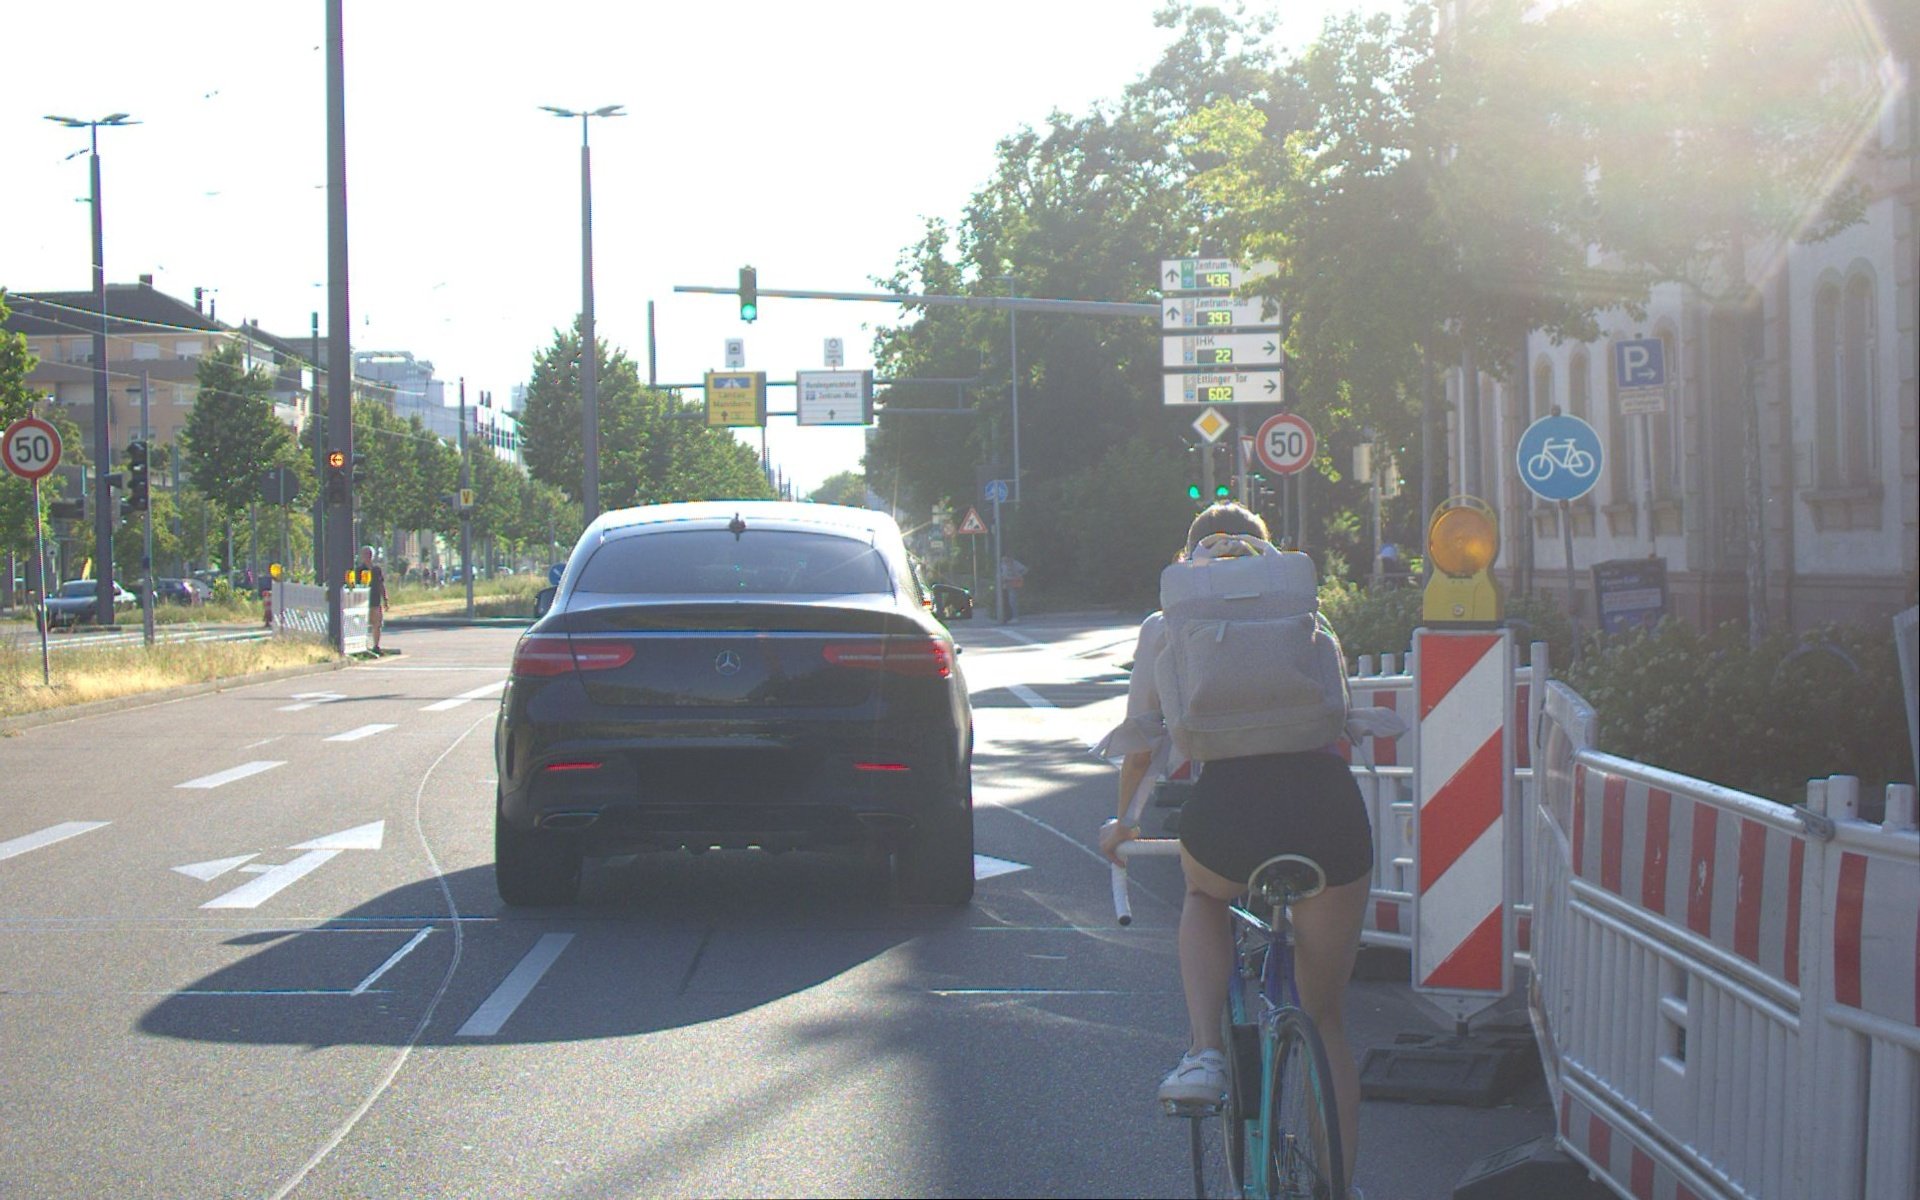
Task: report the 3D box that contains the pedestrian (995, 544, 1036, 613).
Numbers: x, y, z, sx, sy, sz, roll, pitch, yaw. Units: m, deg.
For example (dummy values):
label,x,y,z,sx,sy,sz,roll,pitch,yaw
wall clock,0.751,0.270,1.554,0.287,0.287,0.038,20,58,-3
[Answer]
label,x,y,z,sx,sy,sz,roll,pitch,yaw
pedestrian,1.352,-0.533,83.731,0.766,1.631,0.770,-3,1,-11

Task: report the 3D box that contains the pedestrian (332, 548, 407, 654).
label,x,y,z,sx,sy,sz,roll,pitch,yaw
pedestrian,-9.324,0.016,54.285,0.924,1.643,0.765,-1,0,11

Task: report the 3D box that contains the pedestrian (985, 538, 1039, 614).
label,x,y,z,sx,sy,sz,roll,pitch,yaw
pedestrian,1.269,-0.592,84.552,0.857,1.796,0.907,-4,1,-36

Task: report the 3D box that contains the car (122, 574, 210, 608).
label,x,y,z,sx,sy,sz,roll,pitch,yaw
car,-36.787,-0.415,159.318,3.615,1.518,1.620,1,0,-42

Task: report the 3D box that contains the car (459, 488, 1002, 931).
label,x,y,z,sx,sy,sz,roll,pitch,yaw
car,-1.180,0.378,15.580,1.993,1.728,4.001,0,1,-11

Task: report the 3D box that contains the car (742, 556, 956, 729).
label,x,y,z,sx,sy,sz,roll,pitch,yaw
car,-1.069,0.351,32.836,1.897,1.522,4.059,-1,1,-2

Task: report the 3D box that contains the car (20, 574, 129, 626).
label,x,y,z,sx,sy,sz,roll,pitch,yaw
car,-24.517,-0.013,95.321,1.891,1.339,4.851,-1,1,-2

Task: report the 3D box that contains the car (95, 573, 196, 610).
label,x,y,z,sx,sy,sz,roll,pitch,yaw
car,-36.867,-0.391,155.606,4.084,1.595,1.749,1,1,-42

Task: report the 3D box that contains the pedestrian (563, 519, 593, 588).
label,x,y,z,sx,sy,sz,roll,pitch,yaw
pedestrian,-9.414,-1.144,84.711,0.598,1.693,0.714,-1,1,4

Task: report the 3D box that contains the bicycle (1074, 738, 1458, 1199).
label,x,y,z,sx,sy,sz,roll,pitch,yaw
bicycle,0.542,0.874,6.606,0.520,1.093,1.843,-1,1,-1

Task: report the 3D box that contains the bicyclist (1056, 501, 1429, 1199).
label,x,y,z,sx,sy,sz,roll,pitch,yaw
bicyclist,0.514,0.565,6.570,0.552,1.486,1.081,-1,1,-3
